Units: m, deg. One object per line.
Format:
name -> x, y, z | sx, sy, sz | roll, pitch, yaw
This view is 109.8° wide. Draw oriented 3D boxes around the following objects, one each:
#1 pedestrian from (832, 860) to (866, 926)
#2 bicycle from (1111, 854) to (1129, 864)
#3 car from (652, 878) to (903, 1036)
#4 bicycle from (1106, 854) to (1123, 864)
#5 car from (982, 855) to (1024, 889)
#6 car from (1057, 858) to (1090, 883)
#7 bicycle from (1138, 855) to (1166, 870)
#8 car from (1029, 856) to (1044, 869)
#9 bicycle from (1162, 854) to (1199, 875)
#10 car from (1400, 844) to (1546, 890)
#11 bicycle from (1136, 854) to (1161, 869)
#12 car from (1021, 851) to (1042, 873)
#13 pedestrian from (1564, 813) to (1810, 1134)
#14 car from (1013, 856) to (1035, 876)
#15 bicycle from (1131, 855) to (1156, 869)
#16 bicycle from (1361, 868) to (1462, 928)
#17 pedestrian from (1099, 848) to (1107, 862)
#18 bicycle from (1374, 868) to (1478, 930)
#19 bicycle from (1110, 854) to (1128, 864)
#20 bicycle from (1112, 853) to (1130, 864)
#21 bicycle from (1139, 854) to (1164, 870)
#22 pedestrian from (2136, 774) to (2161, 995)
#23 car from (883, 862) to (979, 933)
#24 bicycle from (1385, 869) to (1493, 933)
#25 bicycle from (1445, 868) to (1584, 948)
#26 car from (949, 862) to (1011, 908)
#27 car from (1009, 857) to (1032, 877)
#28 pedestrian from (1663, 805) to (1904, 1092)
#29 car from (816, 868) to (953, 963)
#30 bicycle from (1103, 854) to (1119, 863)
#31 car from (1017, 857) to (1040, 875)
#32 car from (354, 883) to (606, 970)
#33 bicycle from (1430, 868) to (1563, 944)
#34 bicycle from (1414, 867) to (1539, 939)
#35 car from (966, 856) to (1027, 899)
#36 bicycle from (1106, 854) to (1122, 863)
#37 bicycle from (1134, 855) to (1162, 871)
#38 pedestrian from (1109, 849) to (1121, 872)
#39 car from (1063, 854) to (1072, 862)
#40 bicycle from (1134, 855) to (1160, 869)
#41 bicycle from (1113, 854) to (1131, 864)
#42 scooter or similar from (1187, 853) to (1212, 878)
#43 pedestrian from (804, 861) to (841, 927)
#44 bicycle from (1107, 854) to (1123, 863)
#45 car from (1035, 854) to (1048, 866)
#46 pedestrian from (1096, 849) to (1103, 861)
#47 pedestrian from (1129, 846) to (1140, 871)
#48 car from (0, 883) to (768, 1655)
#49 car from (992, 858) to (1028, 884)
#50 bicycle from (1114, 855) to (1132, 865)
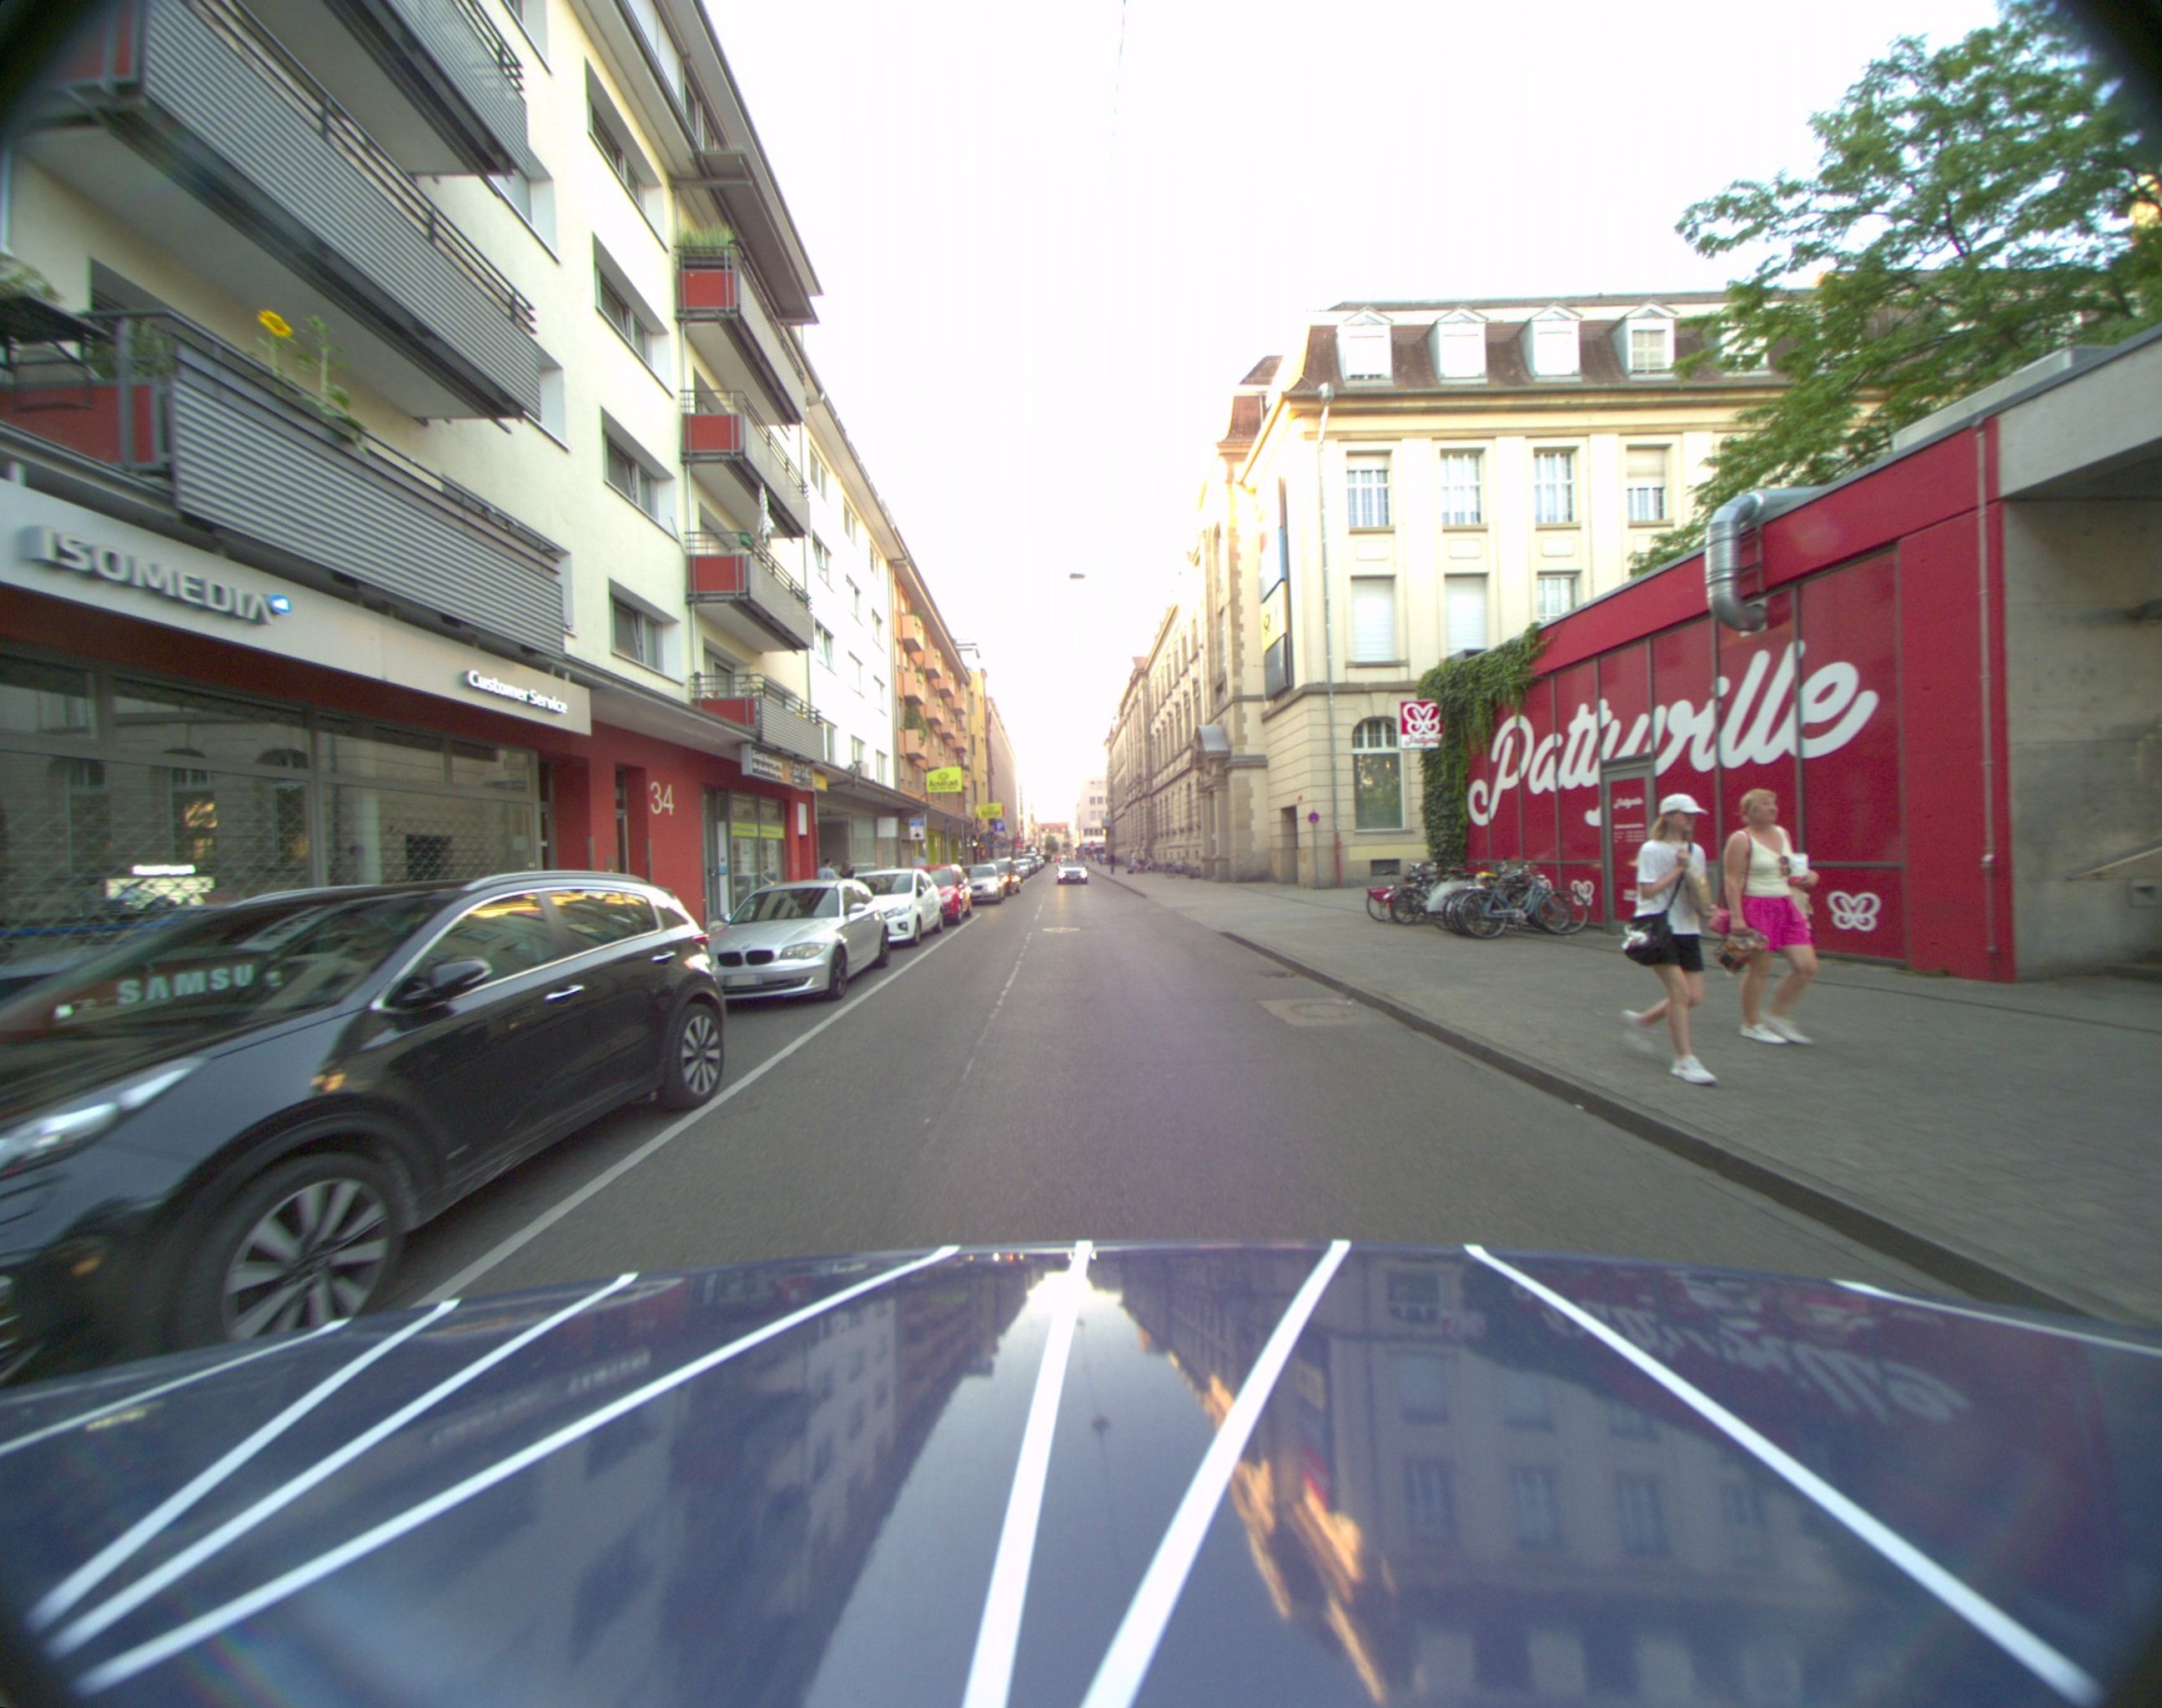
pedestrian -> -5.943, 0.996, 19.499 | 0.649, 1.651, 0.655 | 1, 1, 1
bicycle -> 4.629, 0.588, 90.409 | 1.943, 1.072, 0.730 | -4, 1, -8
car -> -3.741, 1.164, 10.304 | 1.703, 1.443, 4.457 | -4, 0, -3
bicycle -> 4.284, 0.603, 96.508 | 1.943, 1.072, 0.730 | -4, 1, -8
car -> -4.315, 0.976, 42.492 | 1.756, 1.658, 4.756 | -4, 0, -1
car -> -0.483, 0.946, 44.810 | 1.741, 1.407, 4.681 | 1, 0, -3
bicycle -> 5.404, 0.651, 57.636 | 1.943, 1.055, 0.619 | -4, 1, -7
car -> -5.510, 0.991, 94.600 | 1.661, 1.439, 4.307 | -3, 1, -2
bicycle -> 5.749, 0.609, 43.734 | 1.944, 1.055, 0.619 | -5, 1, -16
car -> 13.109, 0.419, 25.564 | 4.016, 1.363, 1.750 | -2, 0, -2
bicycle -> 5.315, 0.591, 59.648 | 1.800, 1.101, 0.500 | -4, 1, -7
car -> -5.013, 0.769, 77.675 | 1.851, 2.046, 5.052 | -3, 1, -2
pedestrian -> 3.655, 0.662, 4.678 | 0.650, 1.740, 0.985 | -3, 0, -2
car -> -4.875, 1.000, 65.476 | 1.622, 1.507, 4.173 | -4, 0, -2
bicycle -> 5.220, 0.647, 63.115 | 1.942, 1.055, 0.619 | -4, 1, -2
bicycle -> 6.652, 0.882, 15.332 | 1.799, 1.101, 0.500 | -2, 0, -1
pedestrian -> 2.877, 0.152, 98.008 | 0.831, 1.735, 0.769 | -4, 0, -1
bicycle -> 6.788, 0.878, 14.988 | 1.799, 1.101, 0.500 | -2, 0, -2
bicycle -> 4.597, 0.590, 91.734 | 1.943, 1.072, 0.730 | -4, 1, -8
bicycle -> 4.683, 0.513, 88.381 | 1.942, 1.072, 0.748 | -4, 1, -2
bicycle -> 5.392, 0.610, 58.450 | 1.800, 1.101, 0.500 | -4, 1, -7
pedestrian -> 8.934, 0.220, 5.737 | 0.847, 1.744, 0.719 | -3, 0, 3
car -> -3.800, 1.032, 20.014 | 1.717, 1.503, 4.651 | -4, 0, -3
bicycle -> 6.801, 0.877, 14.453 | 1.799, 1.101, 0.500 | -2, 0, -2
bicycle -> 6.656, 0.823, 11.707 | 1.798, 1.101, 0.500 | -3, 1, 2
car -> -3.610, 1.081, 27.881 | 1.741, 1.407, 4.681 | -4, 0, -3
car -> -4.768, 1.023, 60.306 | 1.696, 1.403, 4.638 | -4, 0, -4
pedestrian -> 4.697, 0.589, 5.149 | 0.755, 1.739, 0.846 | -4, 0, -2
car -> -3.824, 1.127, 15.480 | 1.610, 1.503, 4.048 | -4, 0, 0
bicycle -> 4.222, 0.576, 106.357 | 2.025, 1.102, 0.730 | -4, 1, -7
car -> -4.864, 1.098, 70.591 | 1.691, 1.444, 4.498 | -4, 0, 0
car -> -11.643, 1.324, 15.134 | 1.744, 1.329, 4.000 | -2, 0, 1
bicycle -> 6.641, 0.822, 12.176 | 1.798, 1.101, 0.500 | -3, 1, 2
bicycle -> 6.645, 0.818, 12.809 | 1.798, 1.101, 0.500 | -3, 1, 2
car -> -3.628, 0.970, 33.257 | 1.798, 1.600, 4.487 | -4, 0, 3
bicycle -> 4.472, 0.591, 103.488 | 2.027, 1.072, 0.729 | -4, 1, -20
bicycle -> 4.994, 0.695, 56.586 | 1.942, 1.055, 0.619 | -4, 1, -3
pedestrian -> 2.698, 0.508, 60.582 | 0.811, 1.740, 0.969 | -4, 1, -1
car -> -3.039, 0.929, 170.997 | 1.824, 1.728, 3.999 | -2, 0, -2
bicycle -> 5.365, 0.661, 61.869 | 1.943, 1.055, 0.619 | -4, 1, -7
bicycle -> 4.794, 0.593, 89.650 | 1.943, 1.072, 0.730 | -4, 1, -8
scooter or similar -> 6.222, 0.600, 39.955 | 1.137, 1.225, 0.496 | -3, 1, -13
pedestrian -> -6.627, 1.016, 19.532 | 0.649, 1.651, 0.794 | 1, 1, 1
bicycle -> 4.503, 0.578, 100.062 | 1.943, 1.072, 0.730 | -4, 1, -8
car -> -5.805, 0.863, 111.392 | 1.781, 1.656, 4.811 | -3, 1, -3
pedestrian -> 2.826, 0.171, 116.189 | 0.778, 1.778, 0.820 | -3, 0, -3
pedestrian -> 4.089, 0.364, 58.026 | 0.589, 1.840, 0.754 | -4, 1, -7
car -> -3.452, 1.100, 3.771 | 1.769, 1.632, 4.790 | -4, 0, -1
car -> -4.380, 0.999, 47.460 | 1.696, 1.406, 4.756 | -4, 0, 0
bicycle -> 4.787, 0.671, 87.465 | 1.941, 1.040, 0.721 | -3, 0, -5
